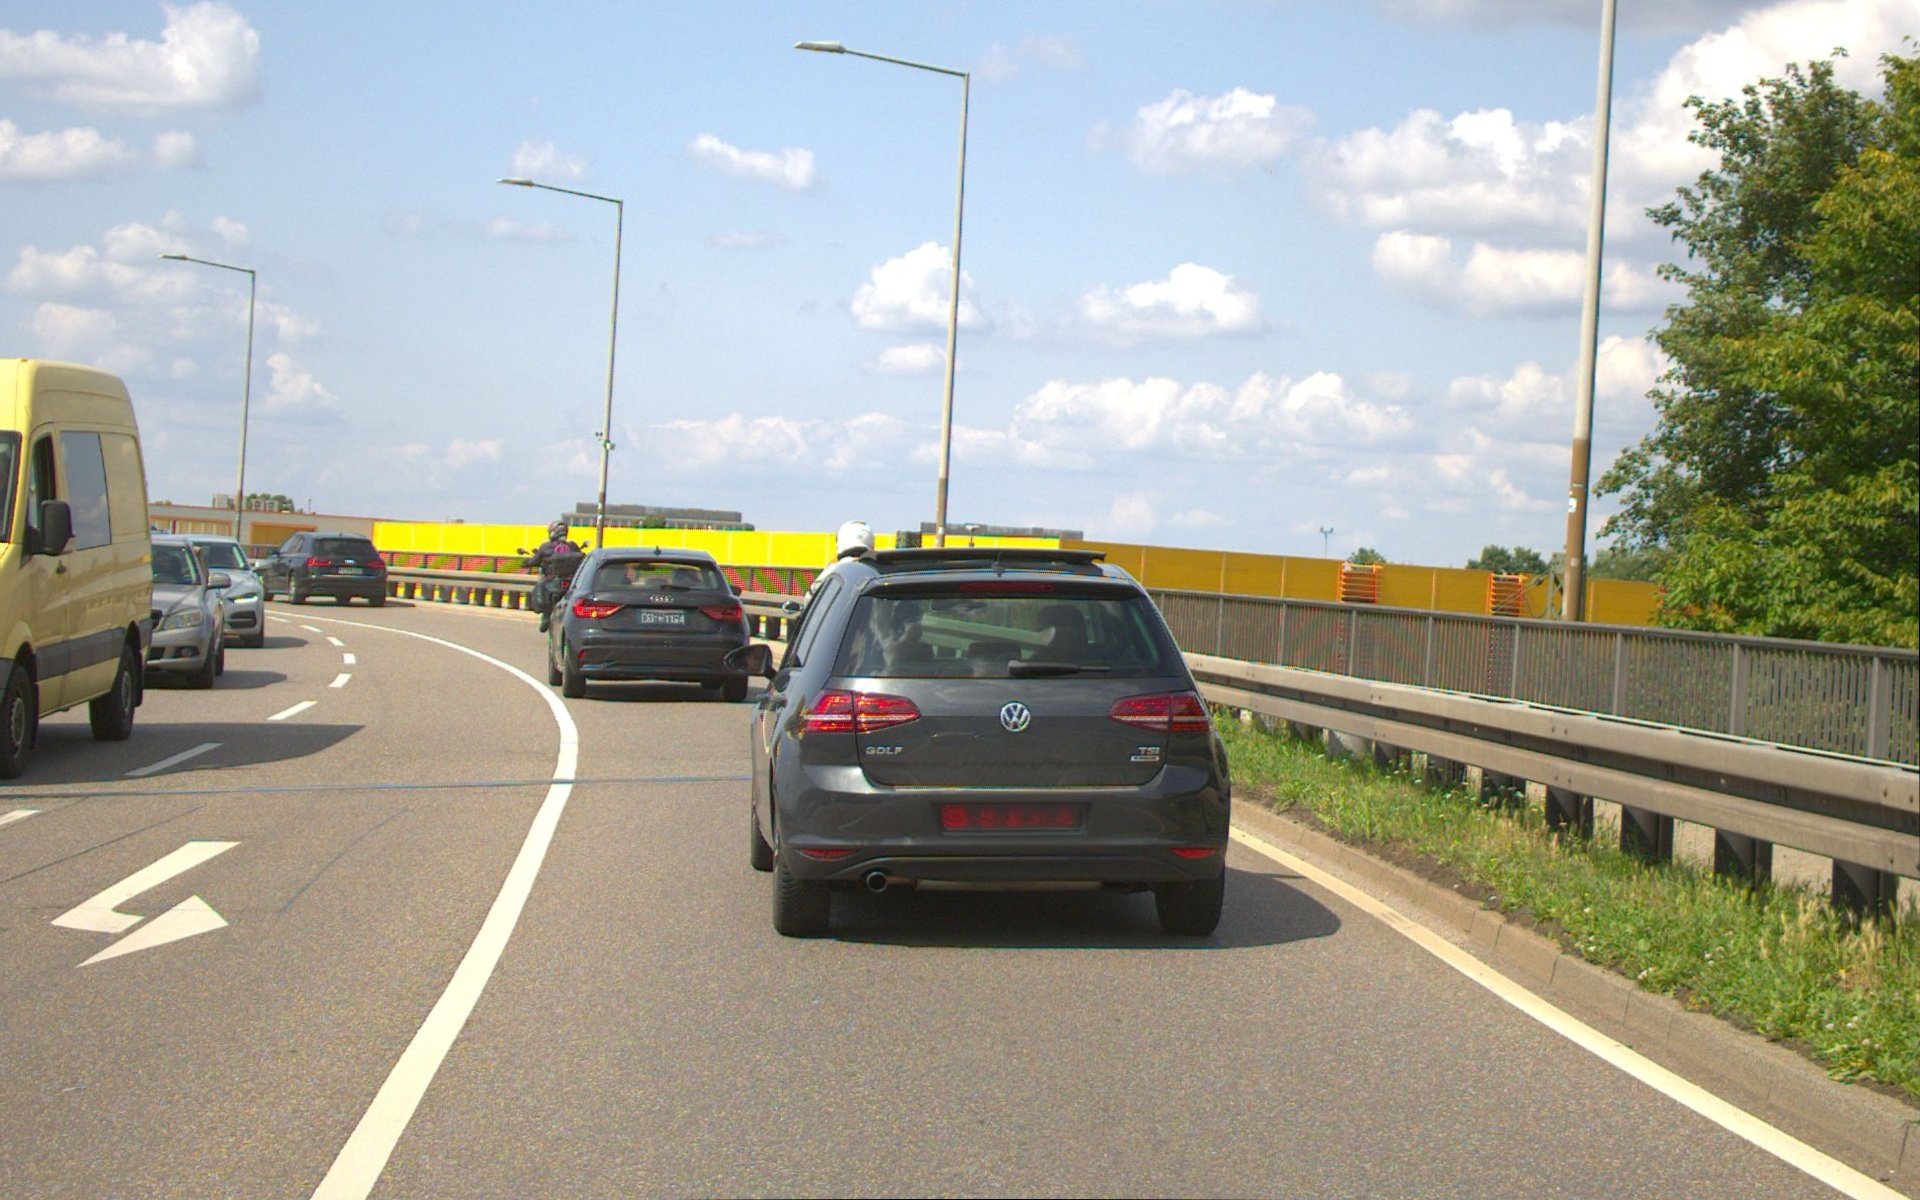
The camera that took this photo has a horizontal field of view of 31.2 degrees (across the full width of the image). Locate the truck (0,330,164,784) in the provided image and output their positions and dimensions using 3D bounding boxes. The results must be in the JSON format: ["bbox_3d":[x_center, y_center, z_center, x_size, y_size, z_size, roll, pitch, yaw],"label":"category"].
[{"bbox_3d":[-6.734,-0.316,22.719,1.993,2.612,6.105,0,1,-5],"label":"truck"}]

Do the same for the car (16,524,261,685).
[{"bbox_3d":[-7.976,0.010,33.703,1.747,1.444,4.338,1,1,-6],"label":"car"}]

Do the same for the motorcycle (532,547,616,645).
[{"bbox_3d":[-5.232,-0.067,46.452,0.887,1.243,2.400,2,1,-11],"label":"motorcycle"}]

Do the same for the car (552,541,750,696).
[{"bbox_3d":[-3.011,0.166,32.968,1.681,1.383,3.740,1,0,-8],"label":"car"}]

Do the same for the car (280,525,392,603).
[{"bbox_3d":[-12.616,-0.733,69.375,1.642,1.474,3.873,2,0,-18],"label":"car"}]

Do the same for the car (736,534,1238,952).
[{"bbox_3d":[-0.022,0.504,14.393,1.642,1.474,3.873,2,0,-6],"label":"car"}]

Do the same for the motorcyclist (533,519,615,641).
[{"bbox_3d":[-5.235,-0.275,46.566,0.965,1.590,1.125,2,1,-11],"label":"motorcyclist"}]

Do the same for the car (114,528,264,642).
[{"bbox_3d":[-10.106,-0.230,45.197,1.793,1.370,4.582,1,1,-12],"label":"car"}]

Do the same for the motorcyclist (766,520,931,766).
[{"bbox_3d":[-0.775,0.281,23.520,0.965,1.615,1.125,2,1,-7],"label":"motorcyclist"}]

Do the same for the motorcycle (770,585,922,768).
[{"bbox_3d":[-0.803,0.493,23.529,0.789,1.128,2.400,2,1,-7],"label":"motorcycle"}]
